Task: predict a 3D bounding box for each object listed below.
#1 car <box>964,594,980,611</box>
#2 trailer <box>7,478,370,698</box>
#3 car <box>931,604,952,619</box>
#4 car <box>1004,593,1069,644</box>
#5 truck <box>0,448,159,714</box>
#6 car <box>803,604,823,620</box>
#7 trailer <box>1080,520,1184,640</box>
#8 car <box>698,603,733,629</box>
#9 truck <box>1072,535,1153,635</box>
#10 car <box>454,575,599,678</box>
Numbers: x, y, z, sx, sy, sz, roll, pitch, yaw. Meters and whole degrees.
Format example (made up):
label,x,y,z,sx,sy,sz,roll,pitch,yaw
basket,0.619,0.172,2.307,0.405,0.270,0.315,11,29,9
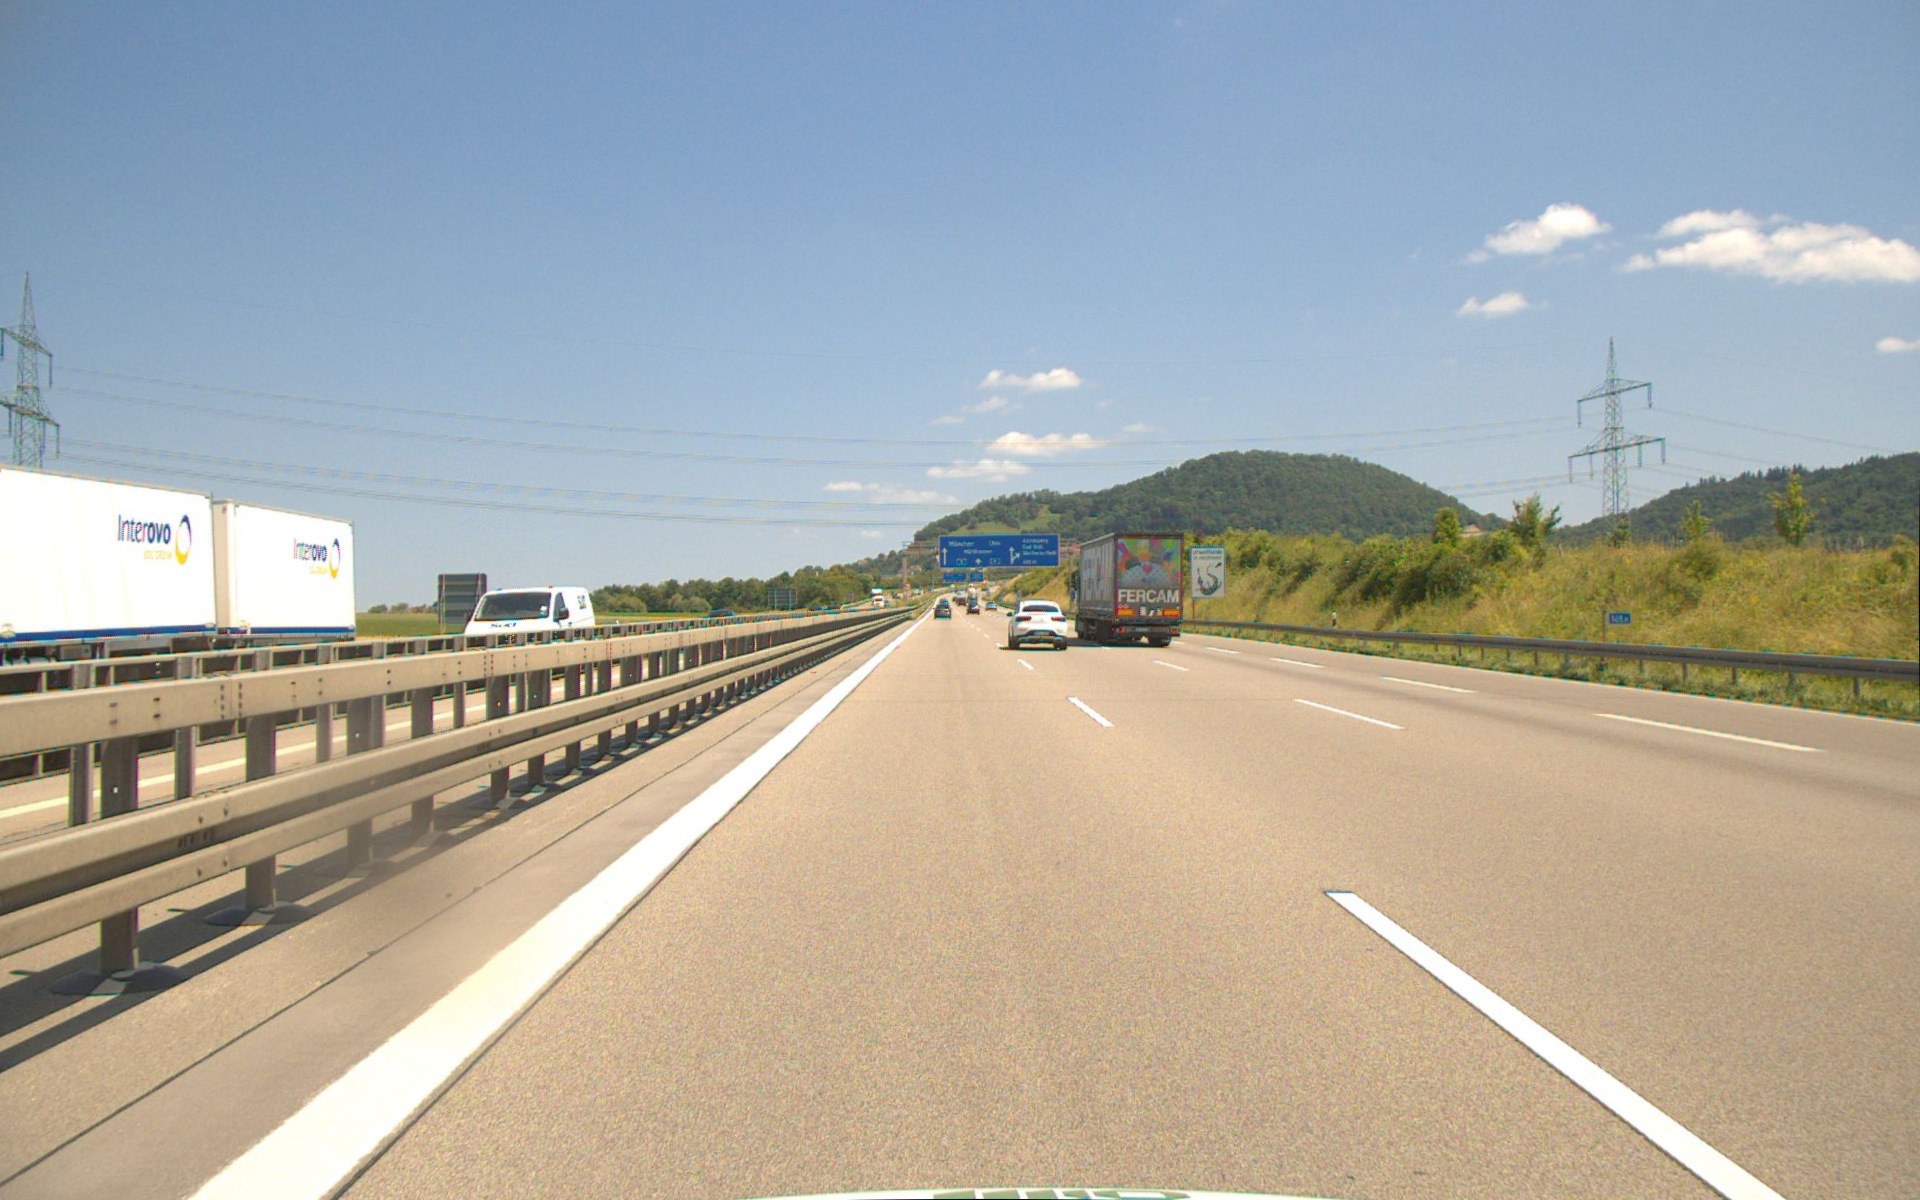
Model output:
label,x,y,z,sx,sy,sz,roll,pitch,yaw
car,1.488,0.368,207.122,1.953,2.049,4.000,1,0,0
trailer,-16.609,-0.182,37.005,2.775,4.117,11.663,1,0,-1
car,-1.744,1.096,158.778,1.953,1.413,4.000,1,0,0
car,2.558,0.622,56.238,1.875,1.608,5.229,1,0,-1
truck,-16.440,-0.307,27.357,2.763,4.161,7.529,1,0,-1
car,-14.893,1.222,167.291,1.637,1.465,4.564,-3,-1,-1
trailer,6.558,-0.670,64.759,2.670,4.228,11.806,1,0,-1
car,-13.659,0.892,92.443,1.452,1.450,3.608,1,0,-1
truck,6.482,-0.605,71.362,2.697,4.091,6.786,1,0,-1
car,-9.409,0.538,36.303,1.944,2.045,4.648,-2,0,-1
